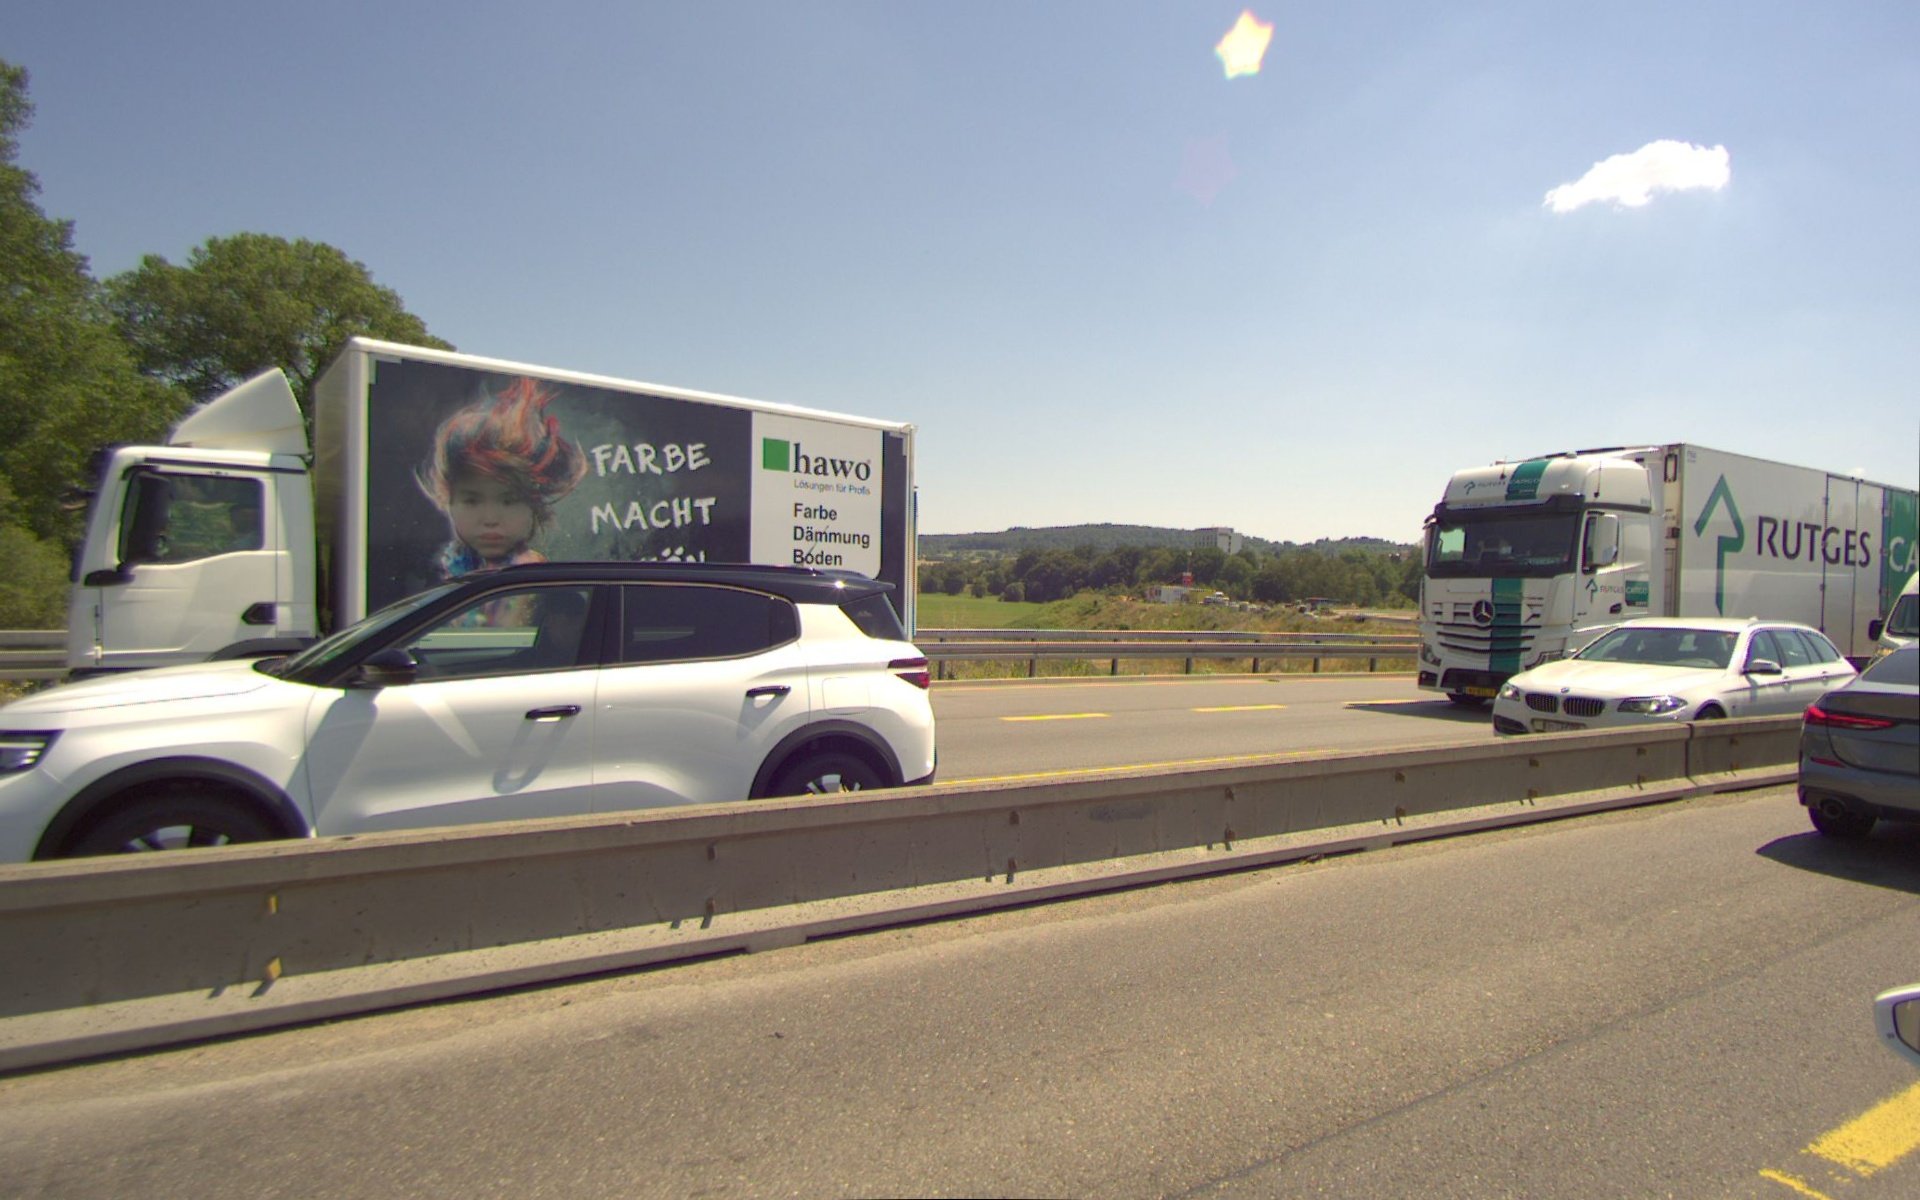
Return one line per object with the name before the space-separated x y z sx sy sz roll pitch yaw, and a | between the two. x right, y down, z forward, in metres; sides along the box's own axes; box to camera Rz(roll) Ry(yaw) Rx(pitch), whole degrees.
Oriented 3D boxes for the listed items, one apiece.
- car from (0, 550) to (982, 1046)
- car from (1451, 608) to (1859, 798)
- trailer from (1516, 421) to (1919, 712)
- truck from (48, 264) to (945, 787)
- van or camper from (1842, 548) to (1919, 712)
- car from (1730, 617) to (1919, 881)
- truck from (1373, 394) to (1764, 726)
car | -2.096 0.657 5.101 4.108 1.669 1.747 1 2 -31
car | 7.569 0.896 10.773 4.924 1.518 1.980 0 2 -35
trailer | 16.269 -0.348 20.031 13.014 4.489 2.801 2 0 -31
truck | -4.330 -0.568 11.100 8.295 3.816 2.881 0 2 -39
van or camper | 17.790 0.508 17.132 6.458 2.545 2.207 1 2 -31
car | 7.573 0.904 6.926 4.684 1.471 1.843 1 2 -29
truck | 9.919 -0.522 16.263 6.152 4.451 2.792 1 1 -31
